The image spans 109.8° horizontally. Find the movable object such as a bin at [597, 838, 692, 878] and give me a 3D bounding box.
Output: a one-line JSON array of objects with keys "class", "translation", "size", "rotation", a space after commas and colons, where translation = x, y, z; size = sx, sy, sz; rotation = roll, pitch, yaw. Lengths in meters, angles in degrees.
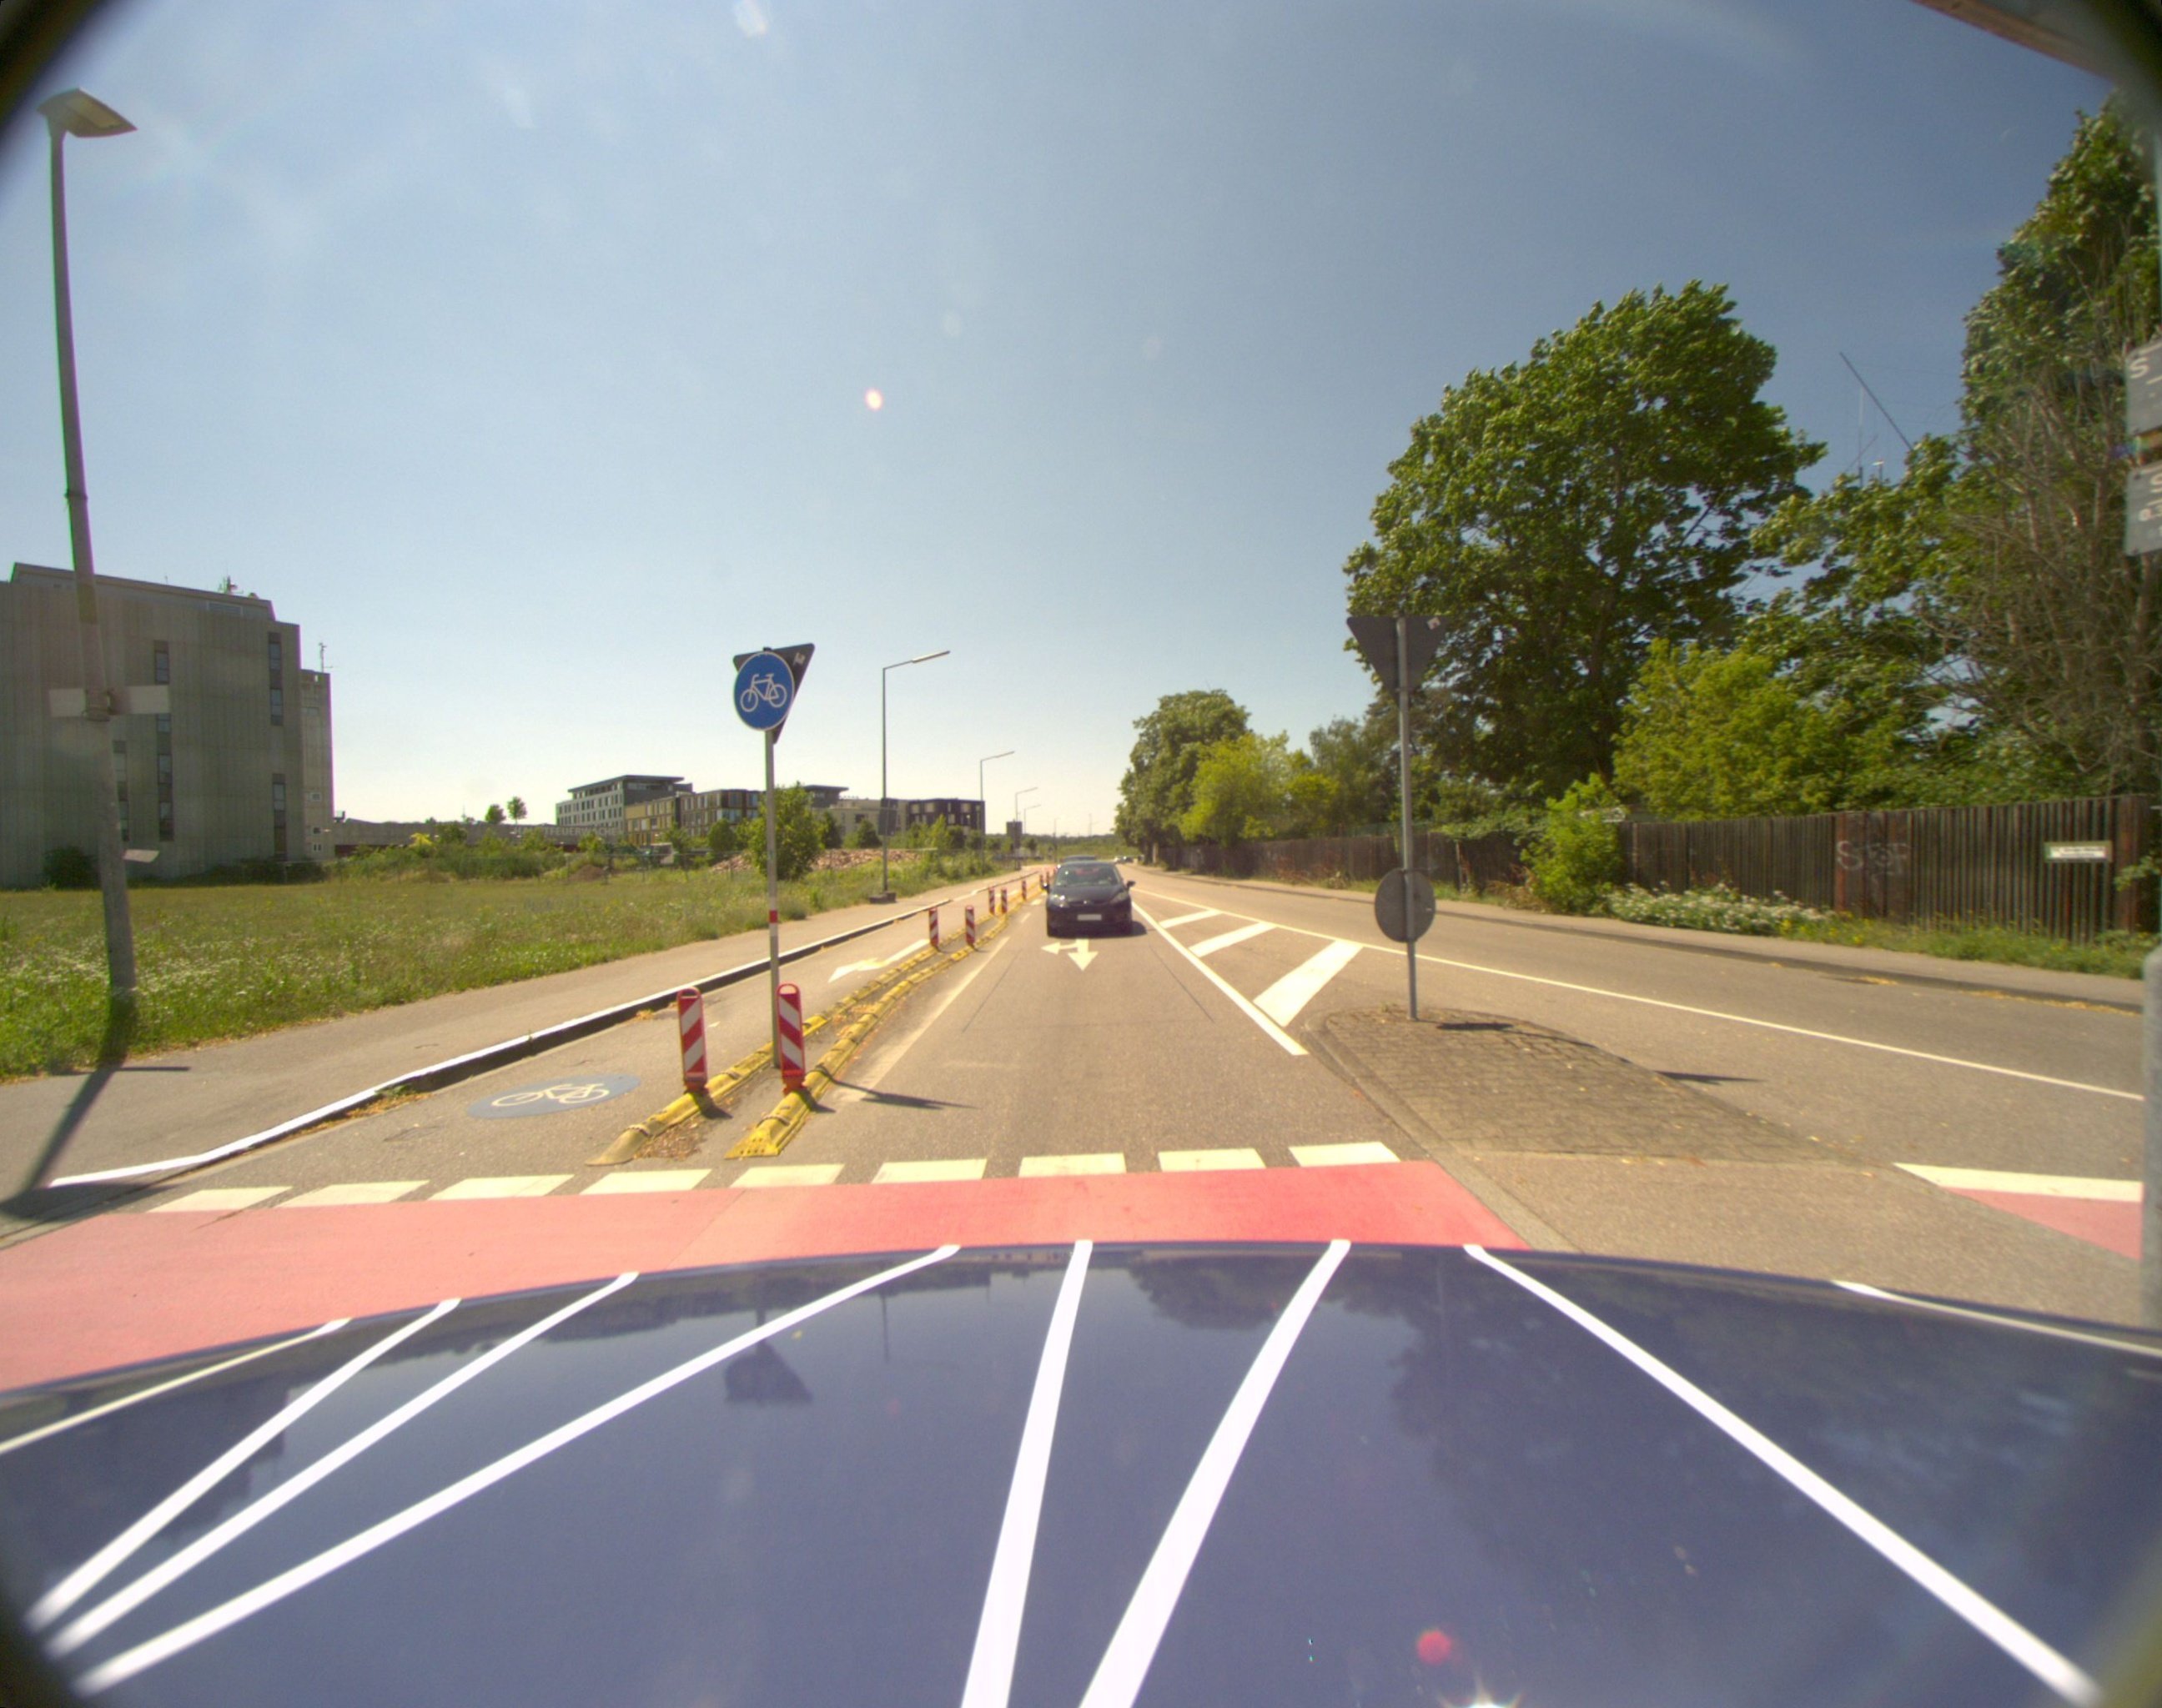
[{"class": "movable object such as a bin", "translation": [-37.435, 0.225, 65.501], "size": [2.810, 3.131, 7.608], "rotation": [-3, 1, 8]}]

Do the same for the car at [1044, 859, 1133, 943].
[{"class": "car", "translation": [0.173, 0.892, 16.012], "size": [1.632, 1.499, 3.819], "rotation": [-1, 0, 1]}]

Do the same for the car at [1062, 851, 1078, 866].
[{"class": "car", "translation": [-1.235, 0.488, 84.927], "size": [1.759, 1.536, 3.693], "rotation": [-1, 0, -2]}]

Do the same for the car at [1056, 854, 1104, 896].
[{"class": "car", "translation": [-0.007, 0.770, 29.987], "size": [1.720, 1.518, 4.212], "rotation": [-1, 0, 1]}]

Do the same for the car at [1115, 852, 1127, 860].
[{"class": "car", "translation": [7.261, 0.351, 137.789], "size": [1.719, 1.455, 3.841], "rotation": [0, 0, -5]}]

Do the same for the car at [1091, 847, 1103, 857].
[{"class": "car", "translation": [2.527, -0.320, 119.547], "size": [1.759, 1.536, 3.693], "rotation": [-1, 0, -2]}]
